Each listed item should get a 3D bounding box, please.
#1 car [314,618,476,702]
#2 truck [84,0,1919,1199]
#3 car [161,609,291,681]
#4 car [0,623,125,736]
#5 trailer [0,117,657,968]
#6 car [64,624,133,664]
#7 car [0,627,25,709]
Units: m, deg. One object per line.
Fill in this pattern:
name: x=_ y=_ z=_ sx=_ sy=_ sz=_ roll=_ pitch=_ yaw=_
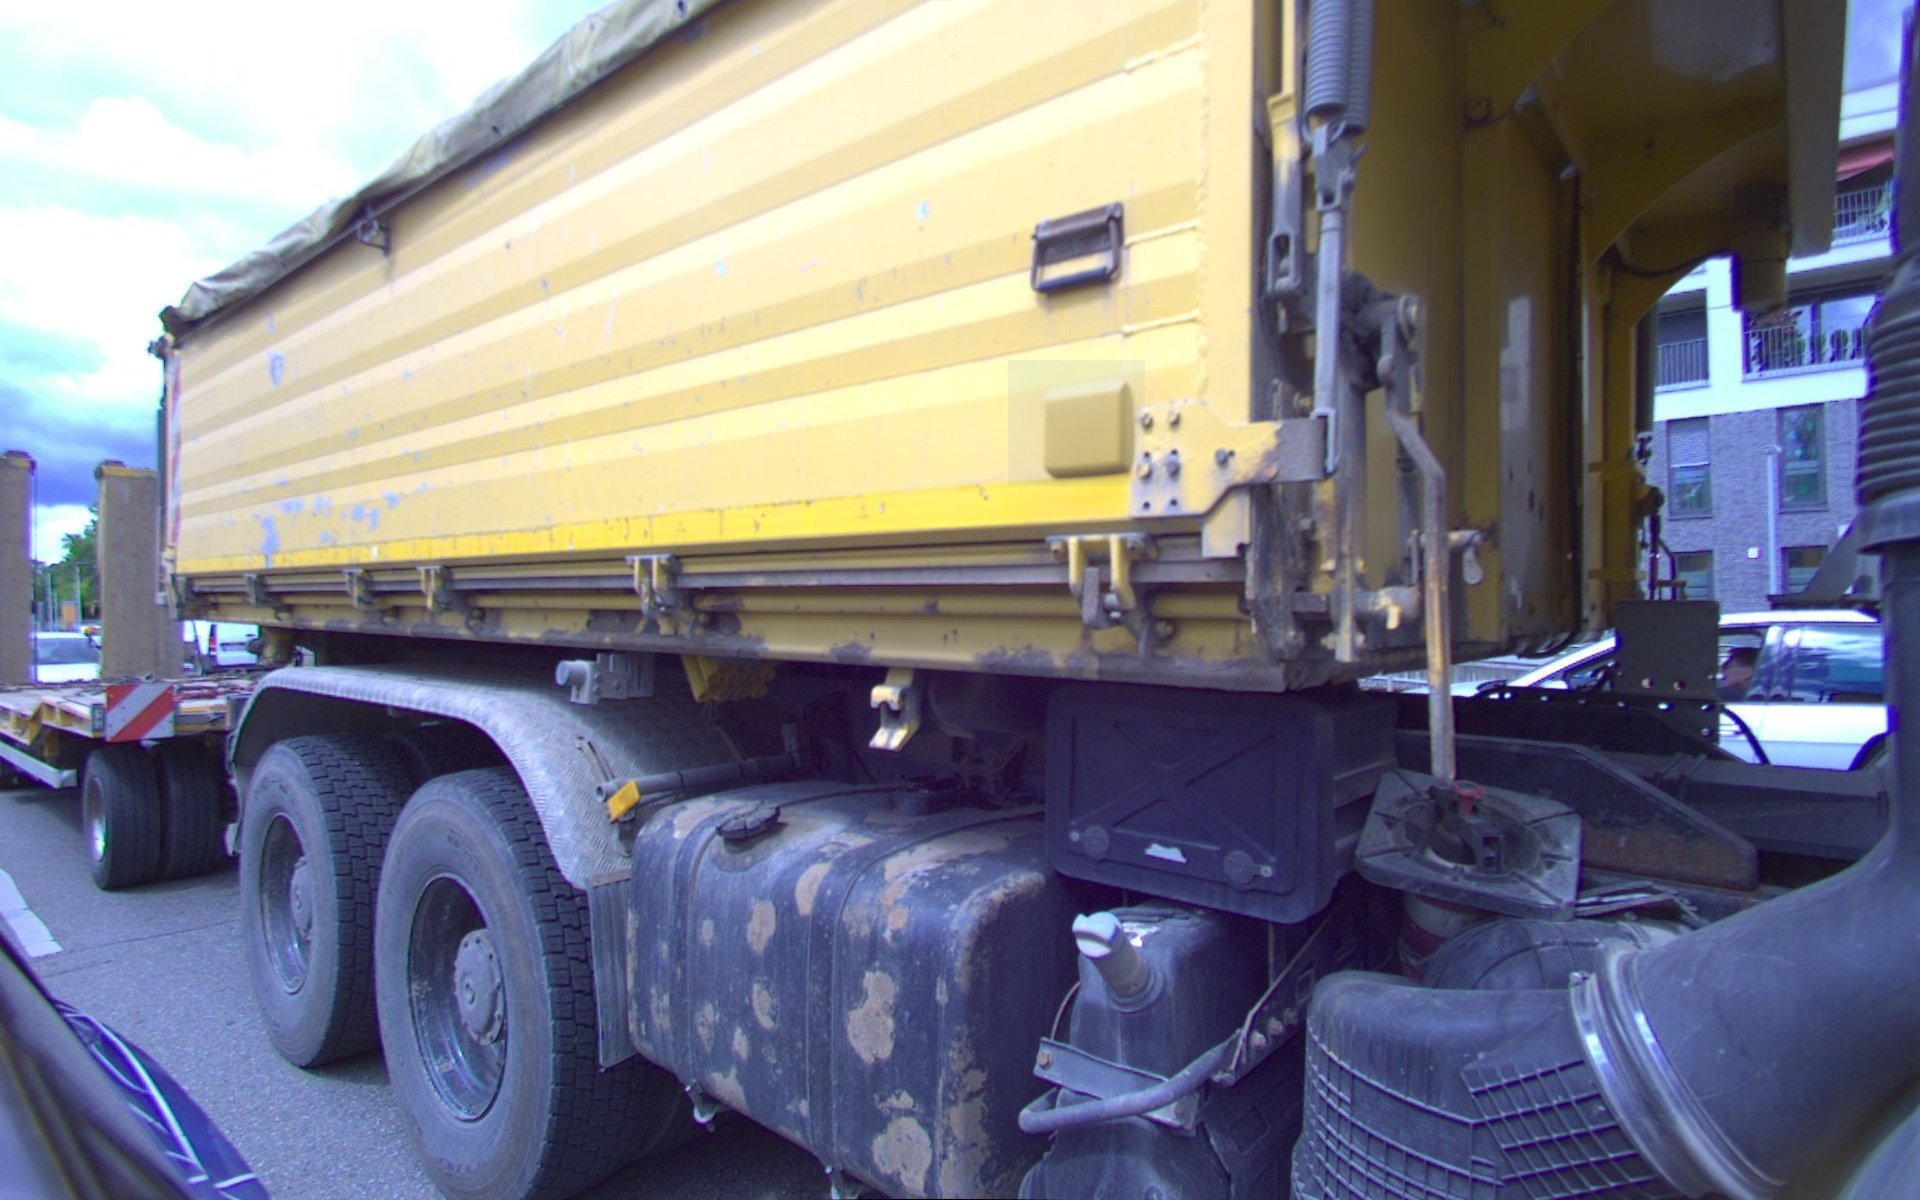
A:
car: x=-11.145 y=1.130 z=19.893 sx=3.564 sy=1.469 sz=1.683 roll=-2 pitch=-1 yaw=41
truck: x=0.154 y=-0.041 z=2.673 sx=7.775 sy=3.026 sz=2.692 roll=-1 pitch=0 yaw=41
car: x=-20.230 y=1.195 z=27.825 sx=4.861 sy=1.785 sz=1.863 roll=-2 pitch=-1 yaw=41
car: x=-14.233 y=1.124 z=15.457 sx=3.998 sy=1.490 sz=1.671 roll=-1 pitch=0 yaw=41
trailer: x=-6.864 y=-0.145 z=8.840 sx=10.909 sy=3.548 sz=2.678 roll=-2 pitch=-1 yaw=41
car: x=-34.600 y=1.747 z=40.609 sx=3.552 sy=1.509 sz=1.623 roll=-2 pitch=-1 yaw=41
car: x=-19.637 y=1.303 z=19.728 sx=3.998 sy=1.490 sz=1.671 roll=-1 pitch=0 yaw=41
